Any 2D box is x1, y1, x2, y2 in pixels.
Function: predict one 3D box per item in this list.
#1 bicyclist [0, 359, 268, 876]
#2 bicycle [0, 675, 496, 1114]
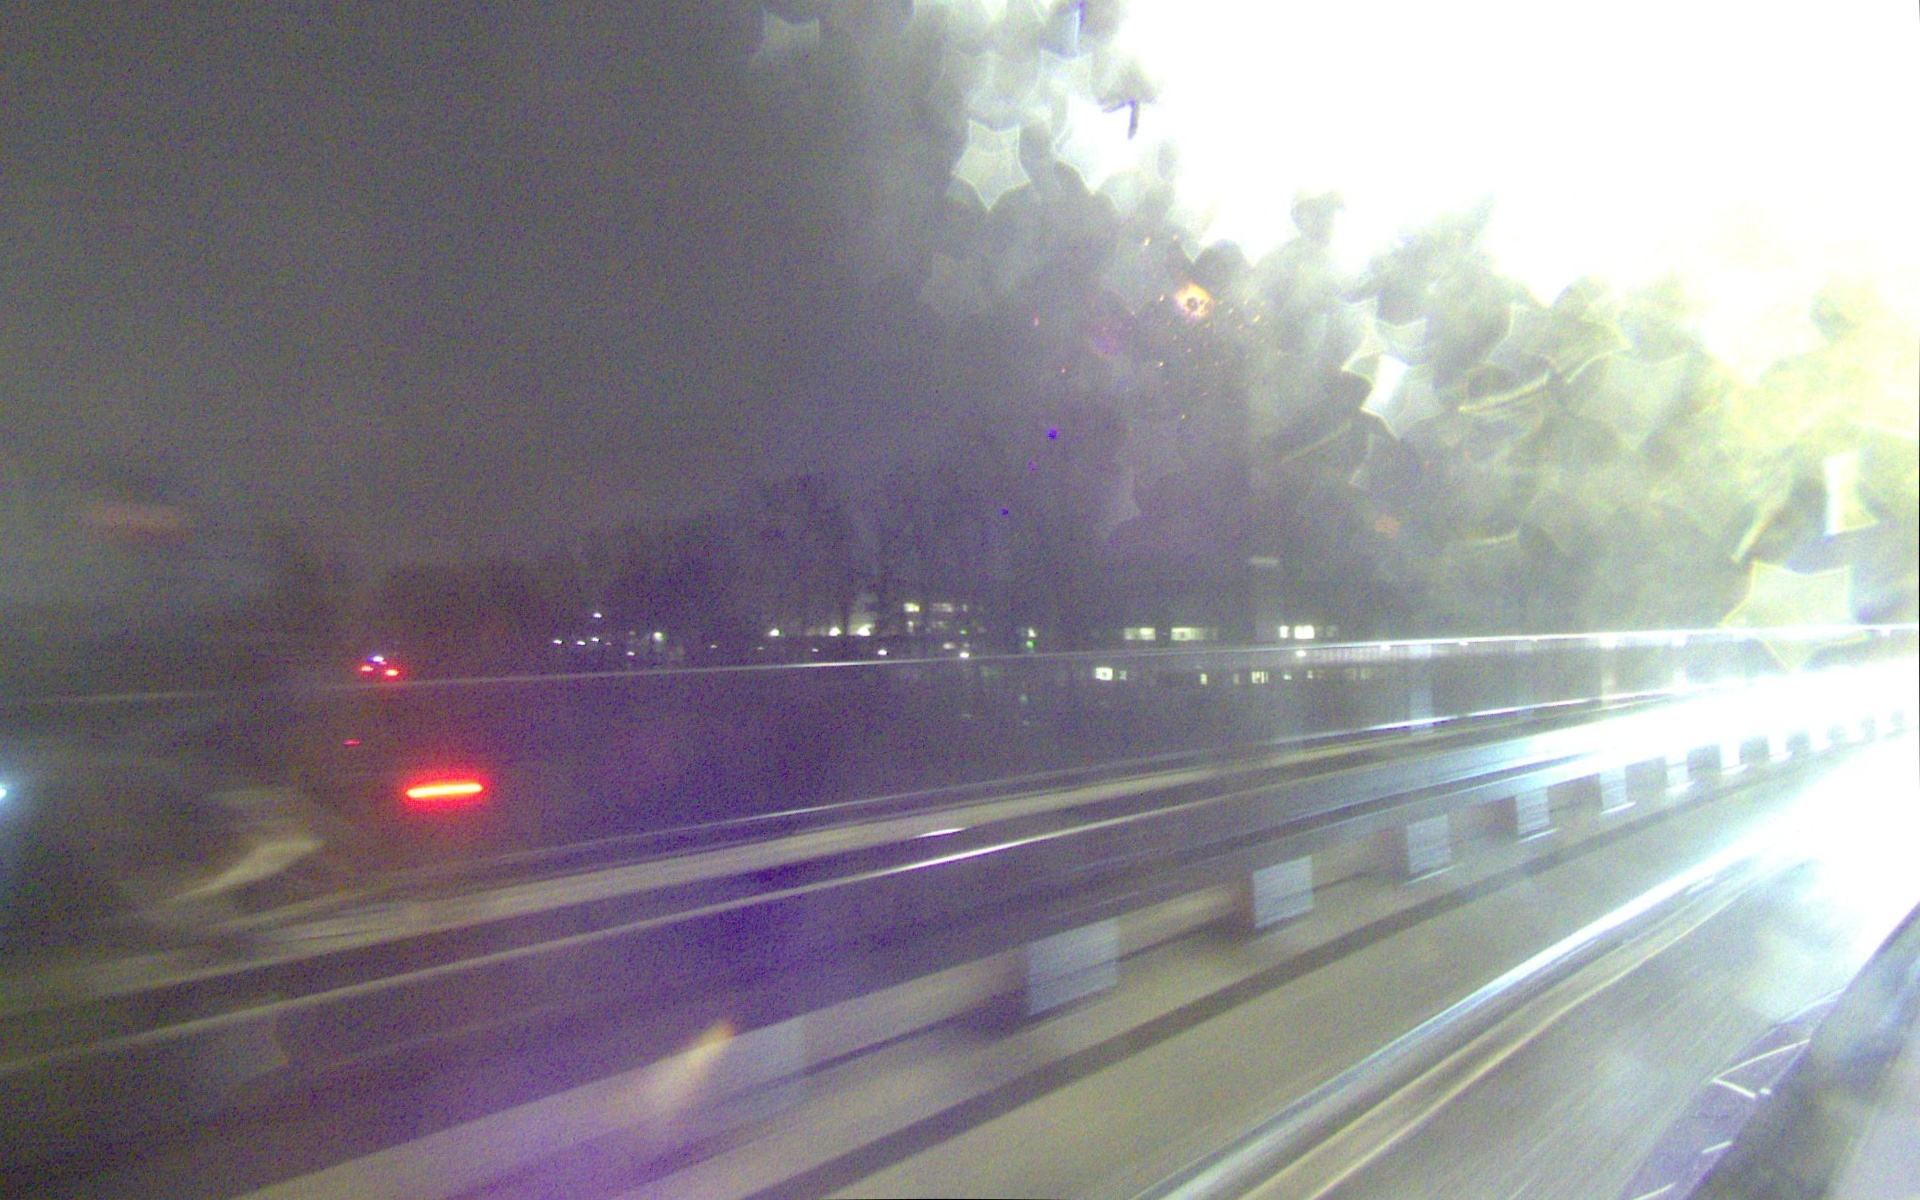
[{"bbox_3d":[-2.533,0.046,2.983,0.751,1.366,0.453,1,-1,-42],"label":"bicyclist"},{"bbox_3d":[-2.552,0.822,2.960,2.134,1.047,0.485,-1,1,-42],"label":"bicycle"}]
